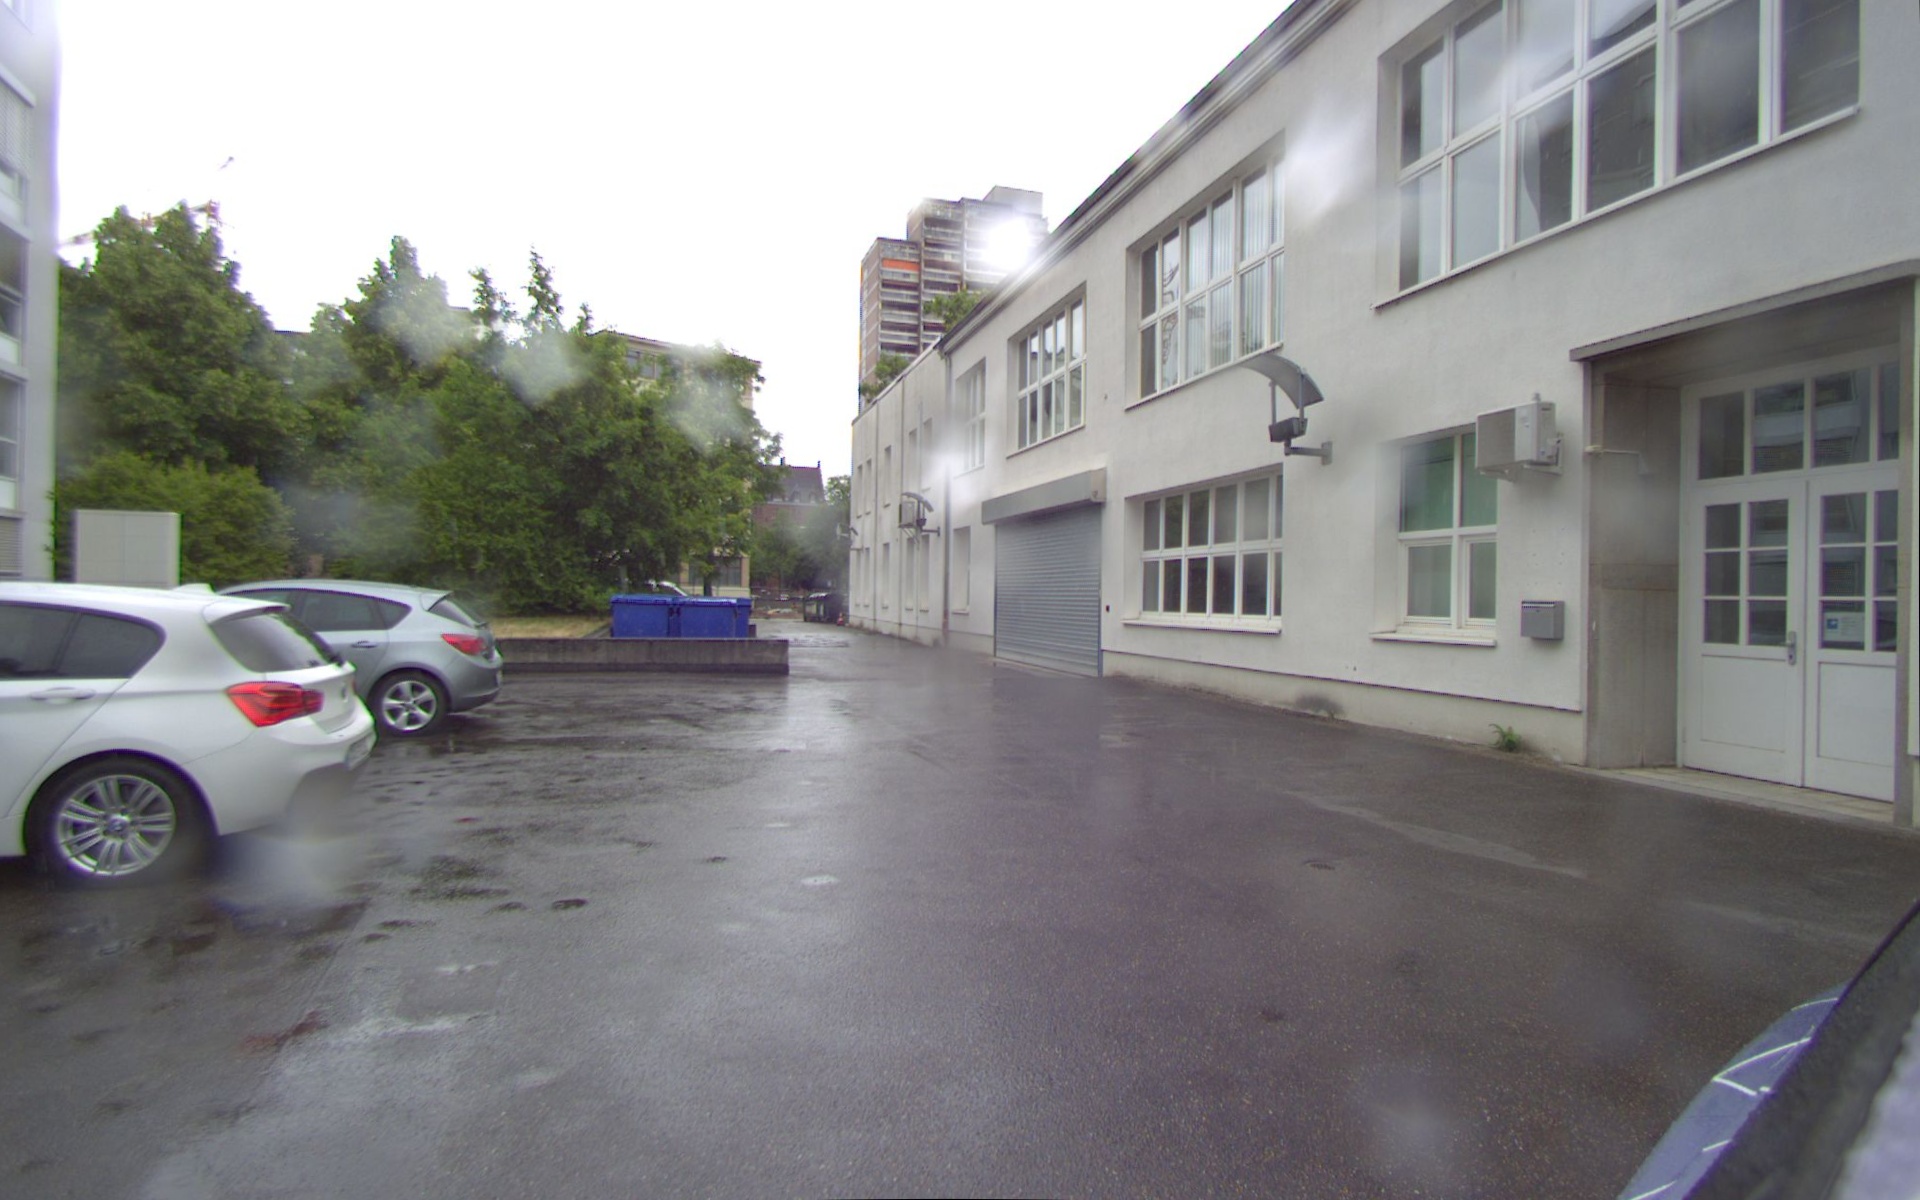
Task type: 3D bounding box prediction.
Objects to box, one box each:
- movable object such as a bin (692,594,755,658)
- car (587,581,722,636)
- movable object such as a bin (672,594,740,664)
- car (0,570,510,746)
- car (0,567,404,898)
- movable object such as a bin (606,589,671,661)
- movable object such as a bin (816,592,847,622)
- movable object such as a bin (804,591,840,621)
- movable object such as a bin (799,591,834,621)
[{"bbox_3d":[-5.431,0.588,23.120,1.286,1.375,1.908,-1,-1,-16],"label":"movable object such as a bin"},{"bbox_3d":[-11.106,0.320,37.037,4.599,1.906,2.126,-1,-2,-14],"label":"car"},{"bbox_3d":[-5.330,0.589,21.152,1.286,1.375,1.908,-1,-1,-16],"label":"movable object such as a bin"},{"bbox_3d":[-6.881,0.514,10.182,4.132,1.508,2.004,1,-1,-20],"label":"car"},{"bbox_3d":[-5.430,0.597,5.290,4.132,1.508,2.004,1,-1,-20],"label":"car"},{"bbox_3d":[-6.573,0.510,20.791,1.207,1.375,1.974,-1,-1,-16],"label":"movable object such as a bin"},{"bbox_3d":[-6.121,0.330,48.002,1.163,1.392,1.316,0,-2,-21],"label":"movable object such as a bin"},{"bbox_3d":[-6.757,0.299,49.473,1.461,1.467,1.316,0,-2,-21],"label":"movable object such as a bin"},{"bbox_3d":[-7.221,0.302,50.743,1.461,1.467,1.316,0,-2,-21],"label":"movable object such as a bin"}]
